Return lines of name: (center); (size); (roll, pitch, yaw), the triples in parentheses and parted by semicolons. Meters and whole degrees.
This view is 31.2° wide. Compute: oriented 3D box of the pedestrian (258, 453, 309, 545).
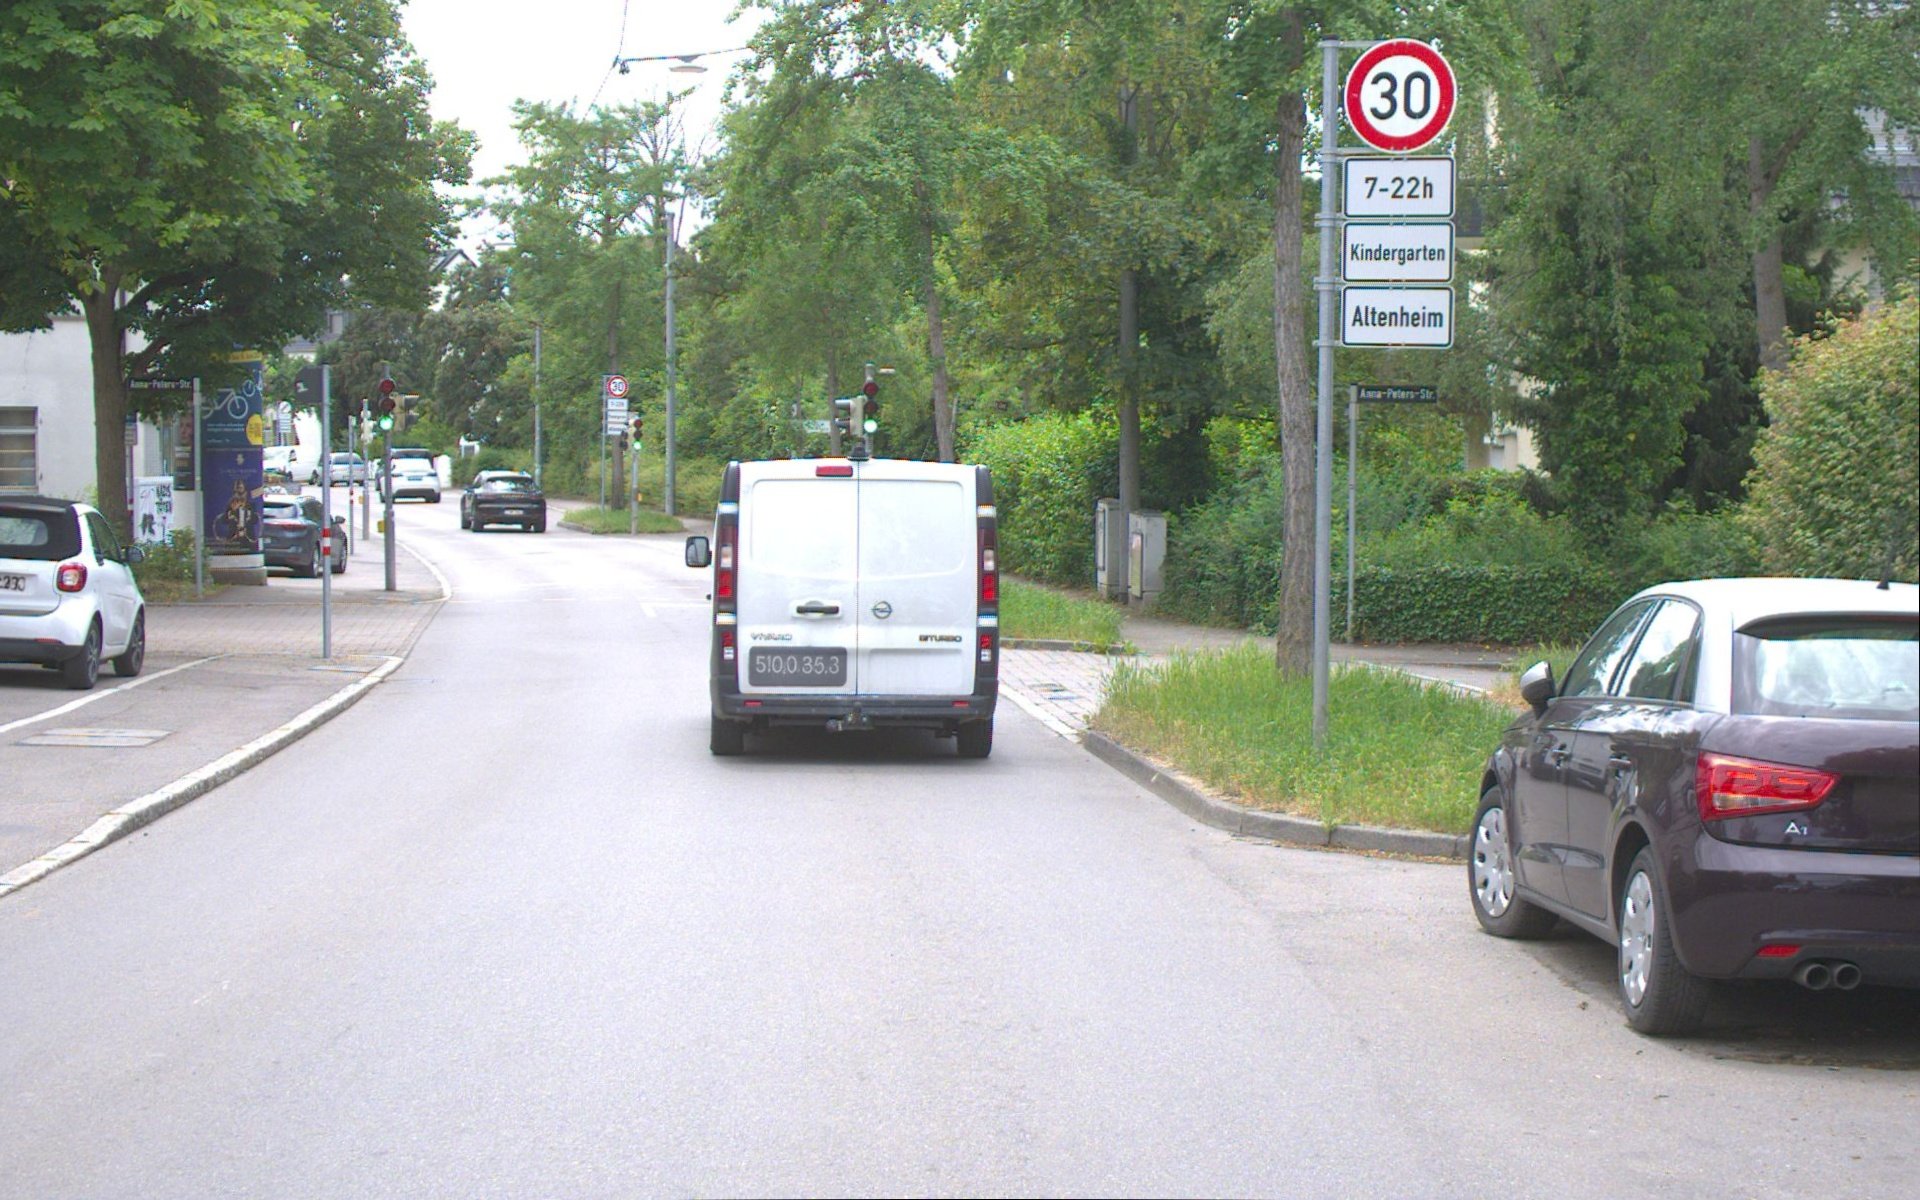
pedestrian: (-13.247, -1.981, 67.304); (0.882, 1.744, 0.964); (2, 2, -14)

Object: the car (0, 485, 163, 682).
car: (-7.912, -0.181, 29.361); (1.588, 1.533, 2.924); (3, 2, -3)

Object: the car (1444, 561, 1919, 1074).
car: (2.876, 0.626, 11.808); (1.709, 1.408, 3.791); (2, 1, -2)

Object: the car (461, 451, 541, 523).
car: (-12.366, -3.048, 92.349); (1.896, 1.853, 4.406); (1, 2, -10)

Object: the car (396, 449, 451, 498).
car: (-19.658, -4.637, 125.888); (1.824, 1.722, 4.002); (0, 2, -11)

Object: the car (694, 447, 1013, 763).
car: (-0.832, -0.047, 23.725); (1.929, 1.957, 4.403); (1, 2, -5)

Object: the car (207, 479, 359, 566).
car: (-12.108, -1.399, 61.713); (1.779, 1.436, 4.526); (2, 1, 0)

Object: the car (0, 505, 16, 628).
car: (-13.499, -0.376, 40.716); (4.224, 1.427, 1.815); (1, 5, 23)
